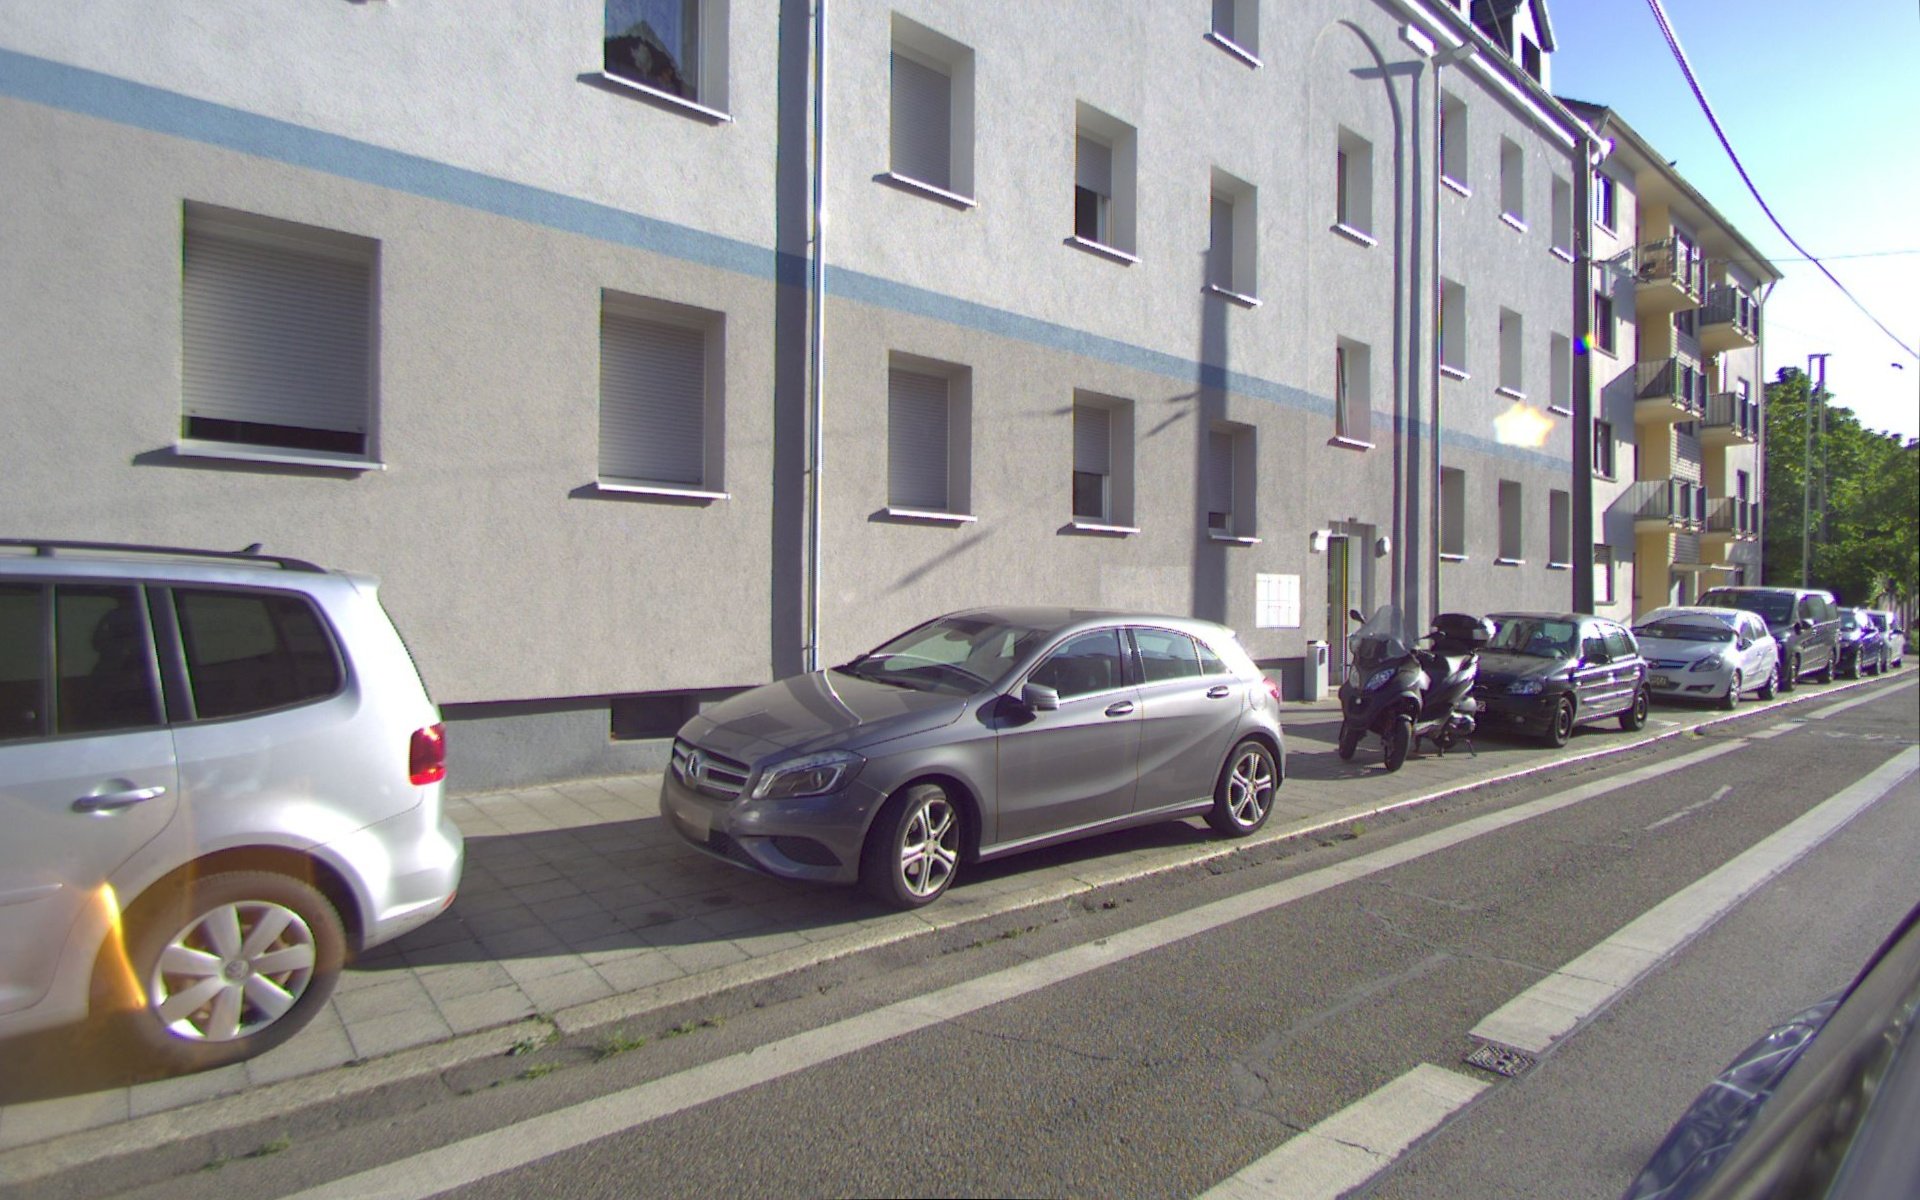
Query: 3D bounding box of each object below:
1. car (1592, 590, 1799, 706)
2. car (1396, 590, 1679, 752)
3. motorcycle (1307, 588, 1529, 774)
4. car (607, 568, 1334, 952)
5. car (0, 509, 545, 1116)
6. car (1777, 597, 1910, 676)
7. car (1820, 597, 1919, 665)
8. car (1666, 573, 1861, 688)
[{"bbox_3d":[11.870,0.673,16.256,3.835,1.590,1.804,0,2,-40],"label":"car"},{"bbox_3d":[6.967,0.715,12.066,3.833,1.590,1.613,0,2,-39],"label":"car"},{"bbox_3d":[4.440,0.682,9.679,2.660,1.540,0.807,0,1,-39],"label":"motorcycle"},{"bbox_3d":[0.277,0.654,6.293,4.286,1.574,1.869,0,2,-38],"label":"car"},{"bbox_3d":[-3.826,0.558,2.901,4.548,1.686,1.757,0,2,-43],"label":"car"},{"bbox_3d":[20.150,0.760,23.026,4.143,1.590,1.612,0,2,-40],"label":"car"},{"bbox_3d":[23.547,0.745,26.033,3.567,1.561,1.557,0,2,-40],"label":"car"},{"bbox_3d":[15.792,0.512,19.788,4.913,1.945,1.934,0,2,-39],"label":"car"}]
